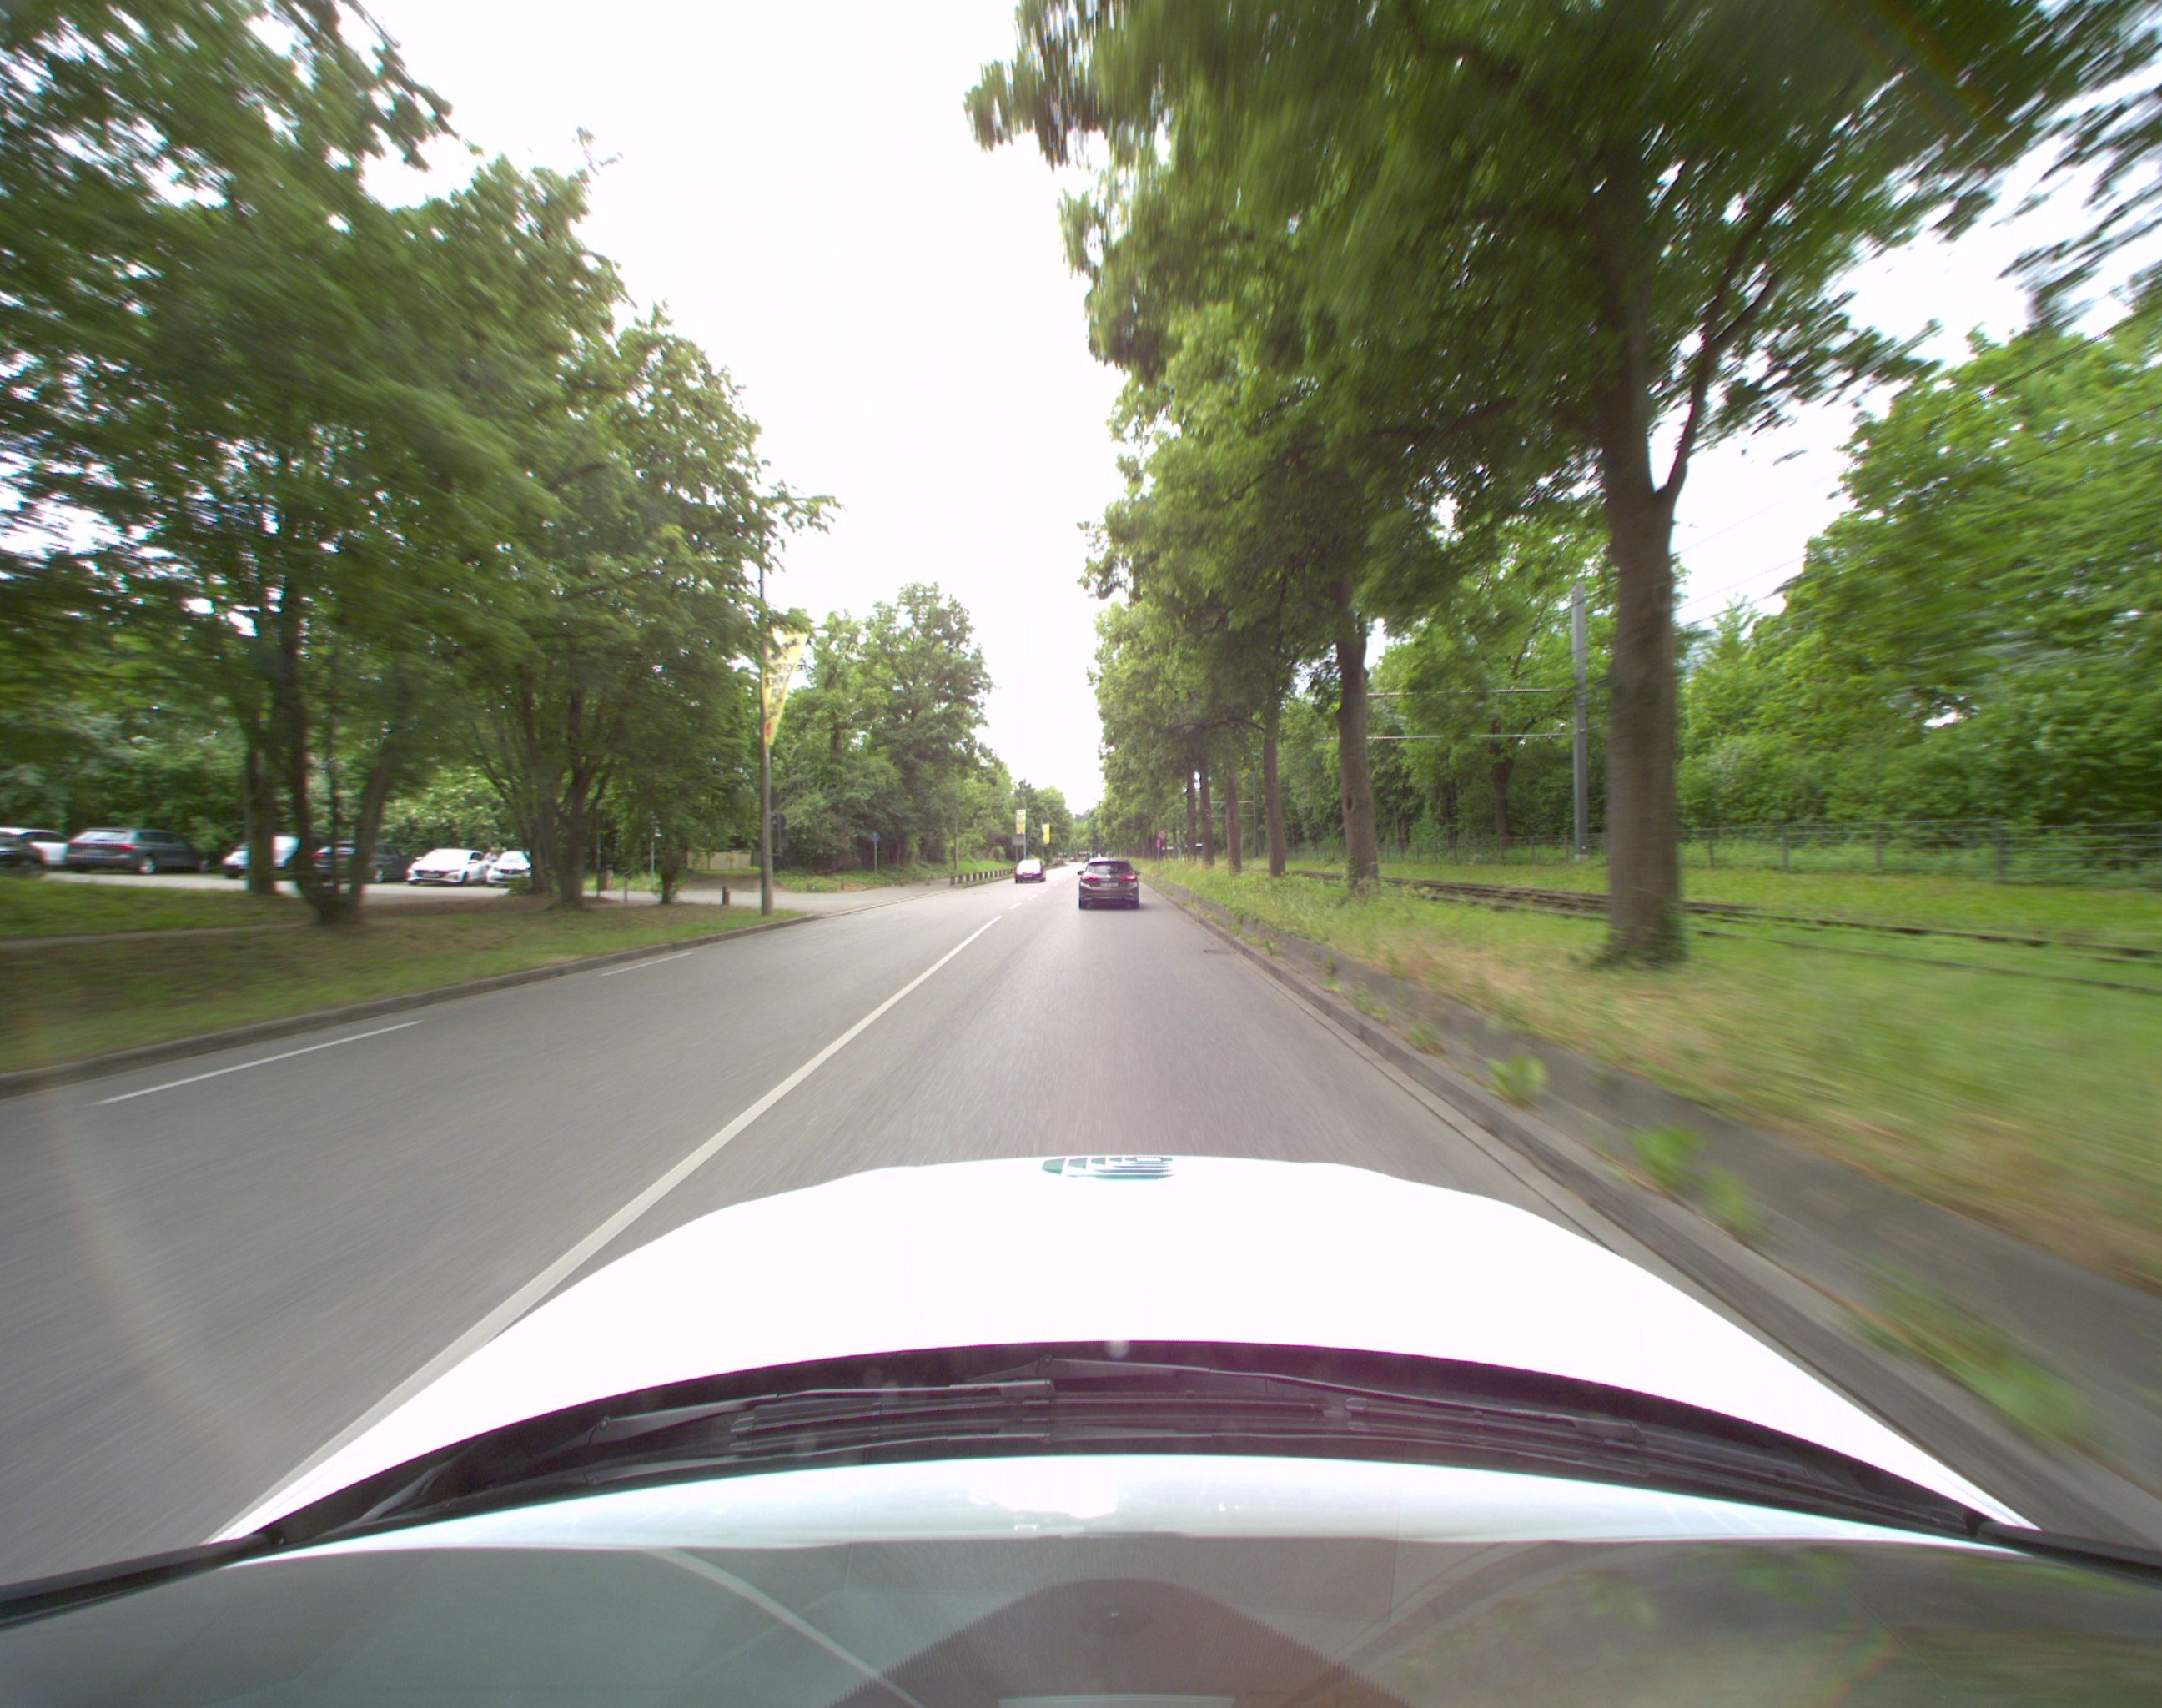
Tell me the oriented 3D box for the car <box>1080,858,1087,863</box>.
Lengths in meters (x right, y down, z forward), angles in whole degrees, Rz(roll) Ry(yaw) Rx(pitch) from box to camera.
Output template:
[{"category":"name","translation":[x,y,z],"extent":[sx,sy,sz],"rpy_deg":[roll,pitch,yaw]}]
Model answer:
[{"category":"car","translation":[0.642,1.661,211.766],"extent":[1.560,1.441,3.541],"rpy_deg":[0,0,-8]}]

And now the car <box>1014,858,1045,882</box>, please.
[{"category":"car","translation":[-3.233,0.977,51.897],"extent":[1.711,1.428,4.195],"rpy_deg":[-2,0,-1]}]

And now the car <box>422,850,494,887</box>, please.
[{"category":"car","translation":[-24.907,0.571,32.646],"extent":[1.375,1.402,3.050],"rpy_deg":[2,-1,-20]}]

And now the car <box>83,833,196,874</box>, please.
[{"category":"car","translation":[-33.681,-0.005,29.226],"extent":[1.267,1.361,3.050],"rpy_deg":[2,-1,-20]}]

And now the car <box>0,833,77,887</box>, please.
[{"category":"car","translation":[-27.961,0.133,20.486],"extent":[1.442,1.340,4.096],"rpy_deg":[2,-1,-20]}]

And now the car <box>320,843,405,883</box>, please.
[{"category":"car","translation":[-27.580,0.333,31.350],"extent":[1.375,1.402,3.050],"rpy_deg":[2,-1,-20]}]

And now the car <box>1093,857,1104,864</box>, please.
[{"category":"car","translation":[3.822,1.322,175.887],"extent":[1.563,1.441,3.536],"rpy_deg":[0,0,-13]}]

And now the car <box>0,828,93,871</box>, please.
[{"category":"car","translation":[-35.942,-0.157,27.884],"extent":[1.267,1.368,3.050],"rpy_deg":[2,-1,-20]}]

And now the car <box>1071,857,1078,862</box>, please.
[{"category":"car","translation":[-2.025,1.736,242.774],"extent":[1.562,1.441,3.538],"rpy_deg":[0,0,-11]}]

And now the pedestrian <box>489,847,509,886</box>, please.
[{"category":"pedestrian","translation":[-24.355,0.531,34.104],"extent":[0.470,1.611,0.825],"rpy_deg":[1,0,-20]}]

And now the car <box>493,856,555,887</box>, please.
[{"category":"car","translation":[-23.151,0.706,33.956],"extent":[1.375,1.238,3.050],"rpy_deg":[2,-1,-20]}]

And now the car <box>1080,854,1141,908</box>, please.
[{"category":"car","translation":[0.865,0.775,24.951],"extent":[1.724,1.537,3.552],"rpy_deg":[0,0,1]}]

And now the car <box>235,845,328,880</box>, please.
[{"category":"car","translation":[-29.787,0.297,30.447],"extent":[1.267,1.212,3.050],"rpy_deg":[2,-1,-20]}]
